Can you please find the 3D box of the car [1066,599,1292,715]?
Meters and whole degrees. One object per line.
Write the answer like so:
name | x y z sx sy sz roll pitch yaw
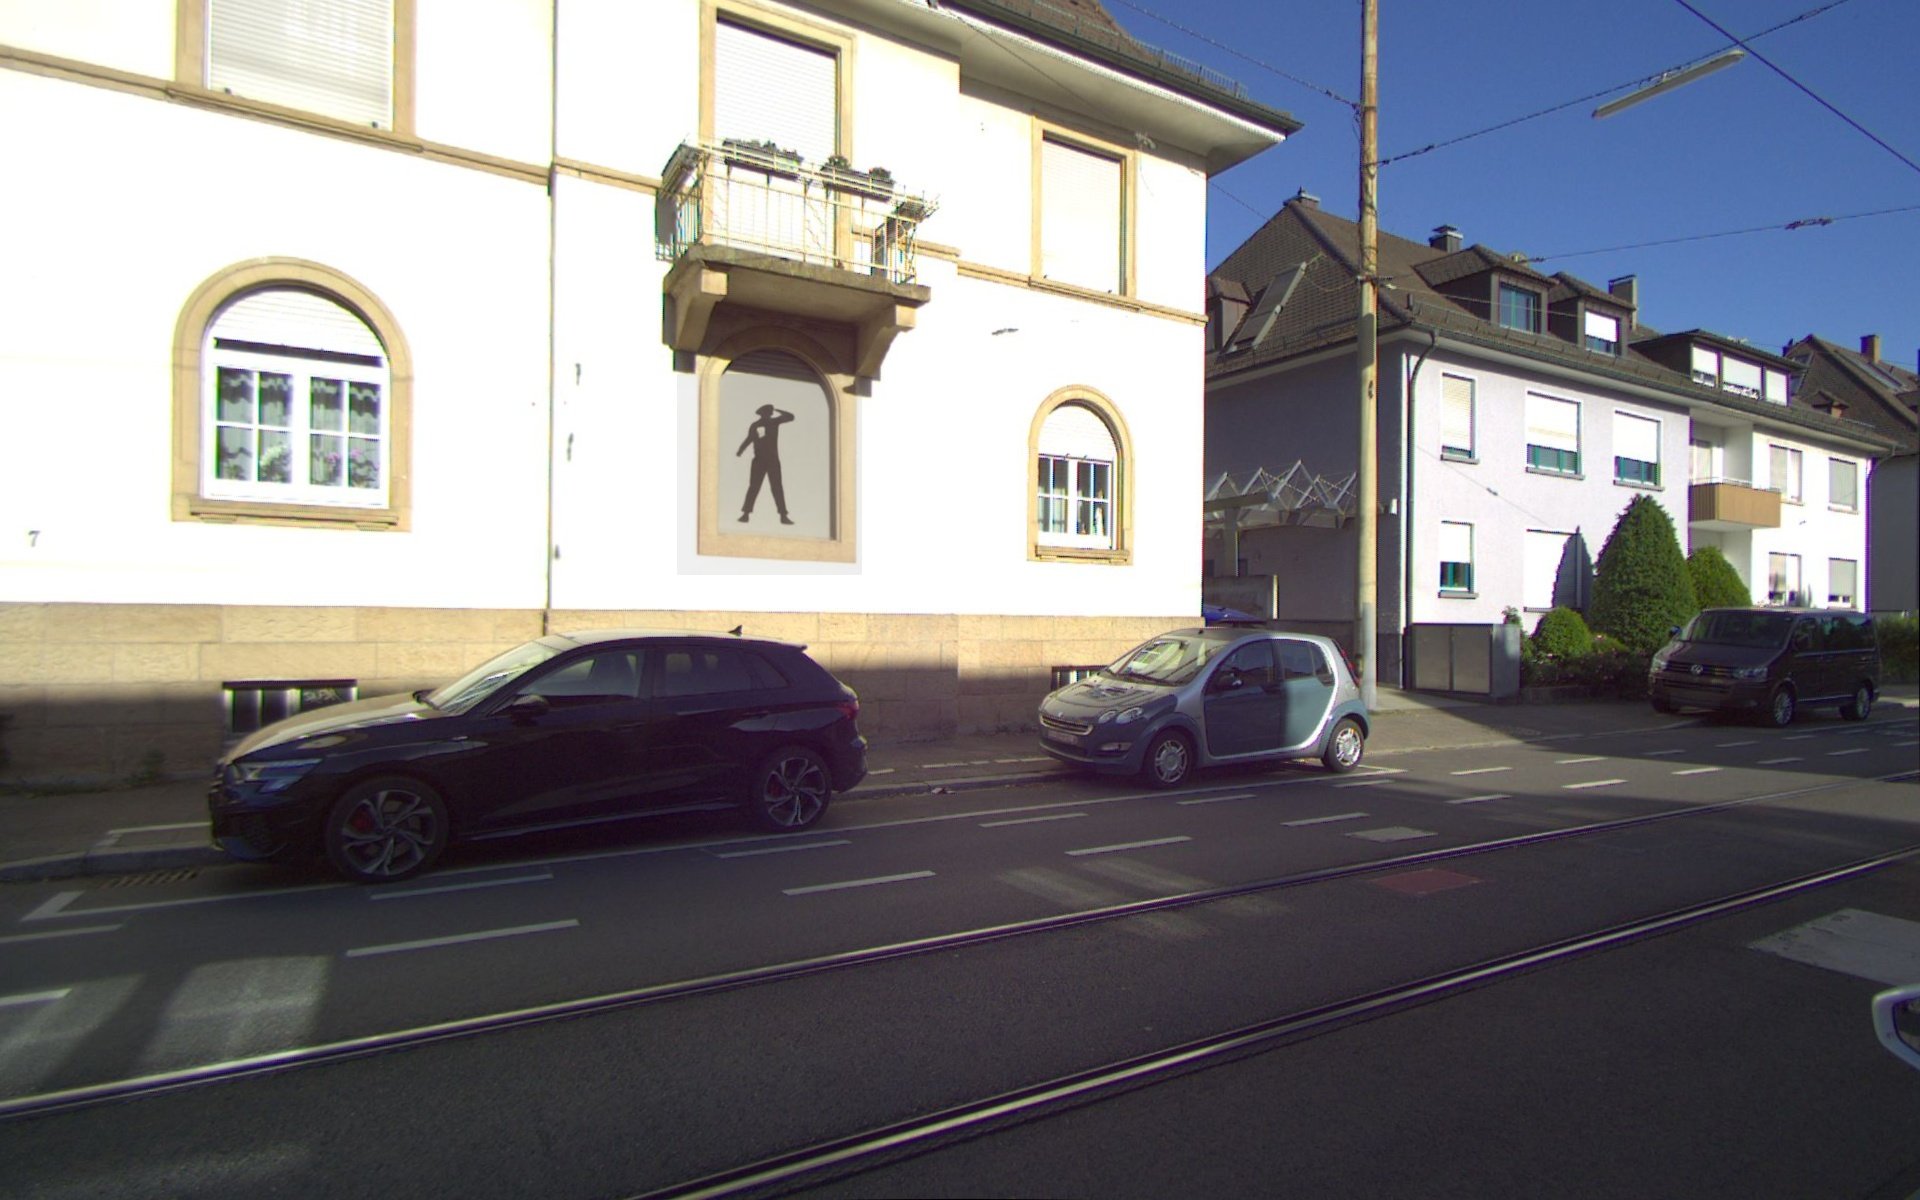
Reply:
car | 3.747 0.940 17.790 1.735 1.807 3.905 1 -2 -31

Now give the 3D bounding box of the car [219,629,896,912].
car | -2.688 0.970 7.275 4.207 1.497 1.652 1 -1 -34

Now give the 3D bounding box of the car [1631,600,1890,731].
car | 14.350 1.074 17.951 4.889 2.041 1.897 1 1 -29

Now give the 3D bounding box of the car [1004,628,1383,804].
car | 2.506 1.079 10.600 3.790 1.497 1.668 1 1 -30
